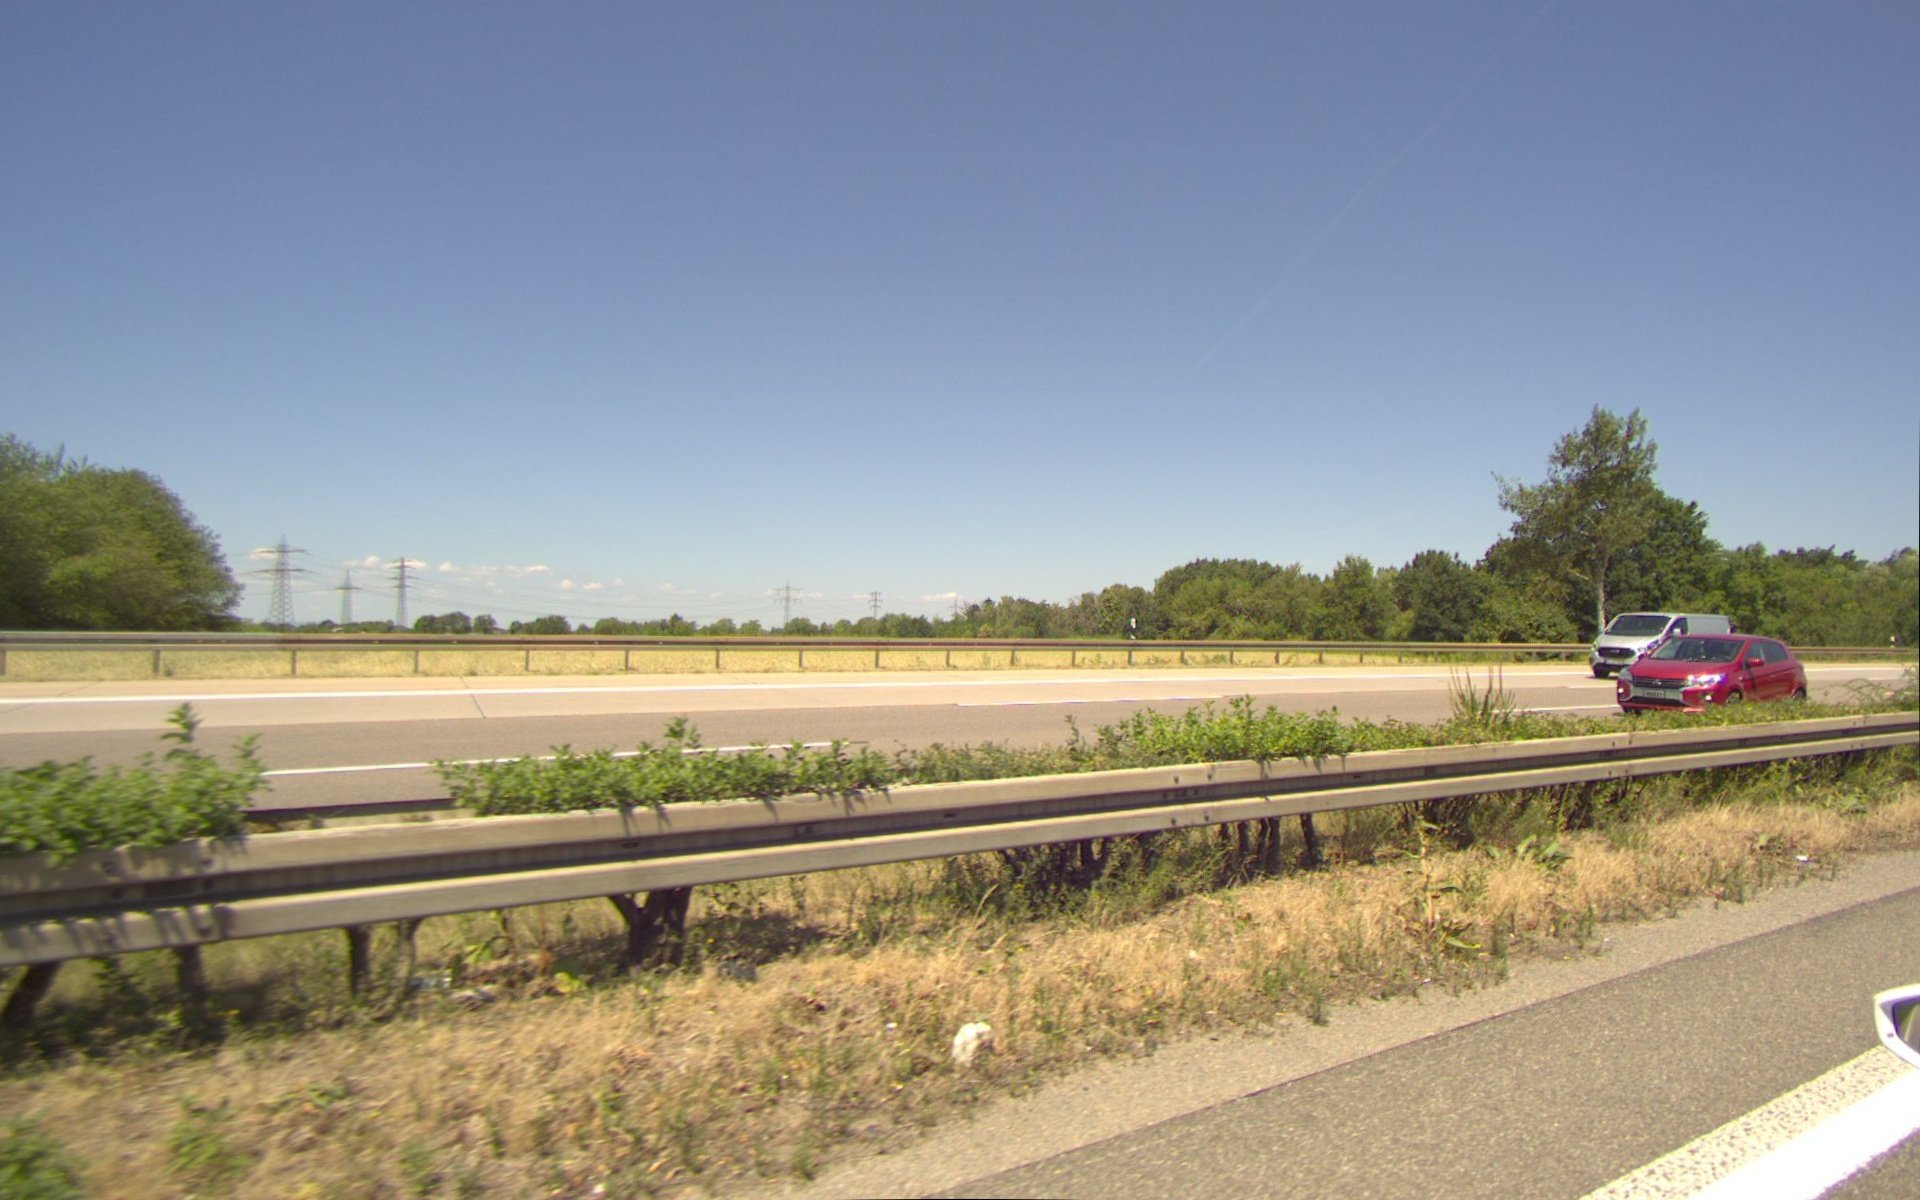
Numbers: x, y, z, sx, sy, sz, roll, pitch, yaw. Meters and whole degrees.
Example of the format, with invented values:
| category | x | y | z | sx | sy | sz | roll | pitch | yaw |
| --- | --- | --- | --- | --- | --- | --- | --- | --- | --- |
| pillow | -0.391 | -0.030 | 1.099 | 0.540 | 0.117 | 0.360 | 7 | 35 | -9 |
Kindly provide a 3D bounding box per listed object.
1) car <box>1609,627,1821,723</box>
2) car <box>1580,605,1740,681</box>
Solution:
| category | x | y | z | sx | sy | sz | roll | pitch | yaw |
| --- | --- | --- | --- | --- | --- | --- | --- | --- | --- |
| car | 13.478 | 1.272 | 17.882 | 4.093 | 1.511 | 1.685 | 2 | -2 | -32 |
| car | 21.049 | 1.283 | 30.131 | 5.349 | 2.098 | 2.047 | 2 | -1 | -32 |
